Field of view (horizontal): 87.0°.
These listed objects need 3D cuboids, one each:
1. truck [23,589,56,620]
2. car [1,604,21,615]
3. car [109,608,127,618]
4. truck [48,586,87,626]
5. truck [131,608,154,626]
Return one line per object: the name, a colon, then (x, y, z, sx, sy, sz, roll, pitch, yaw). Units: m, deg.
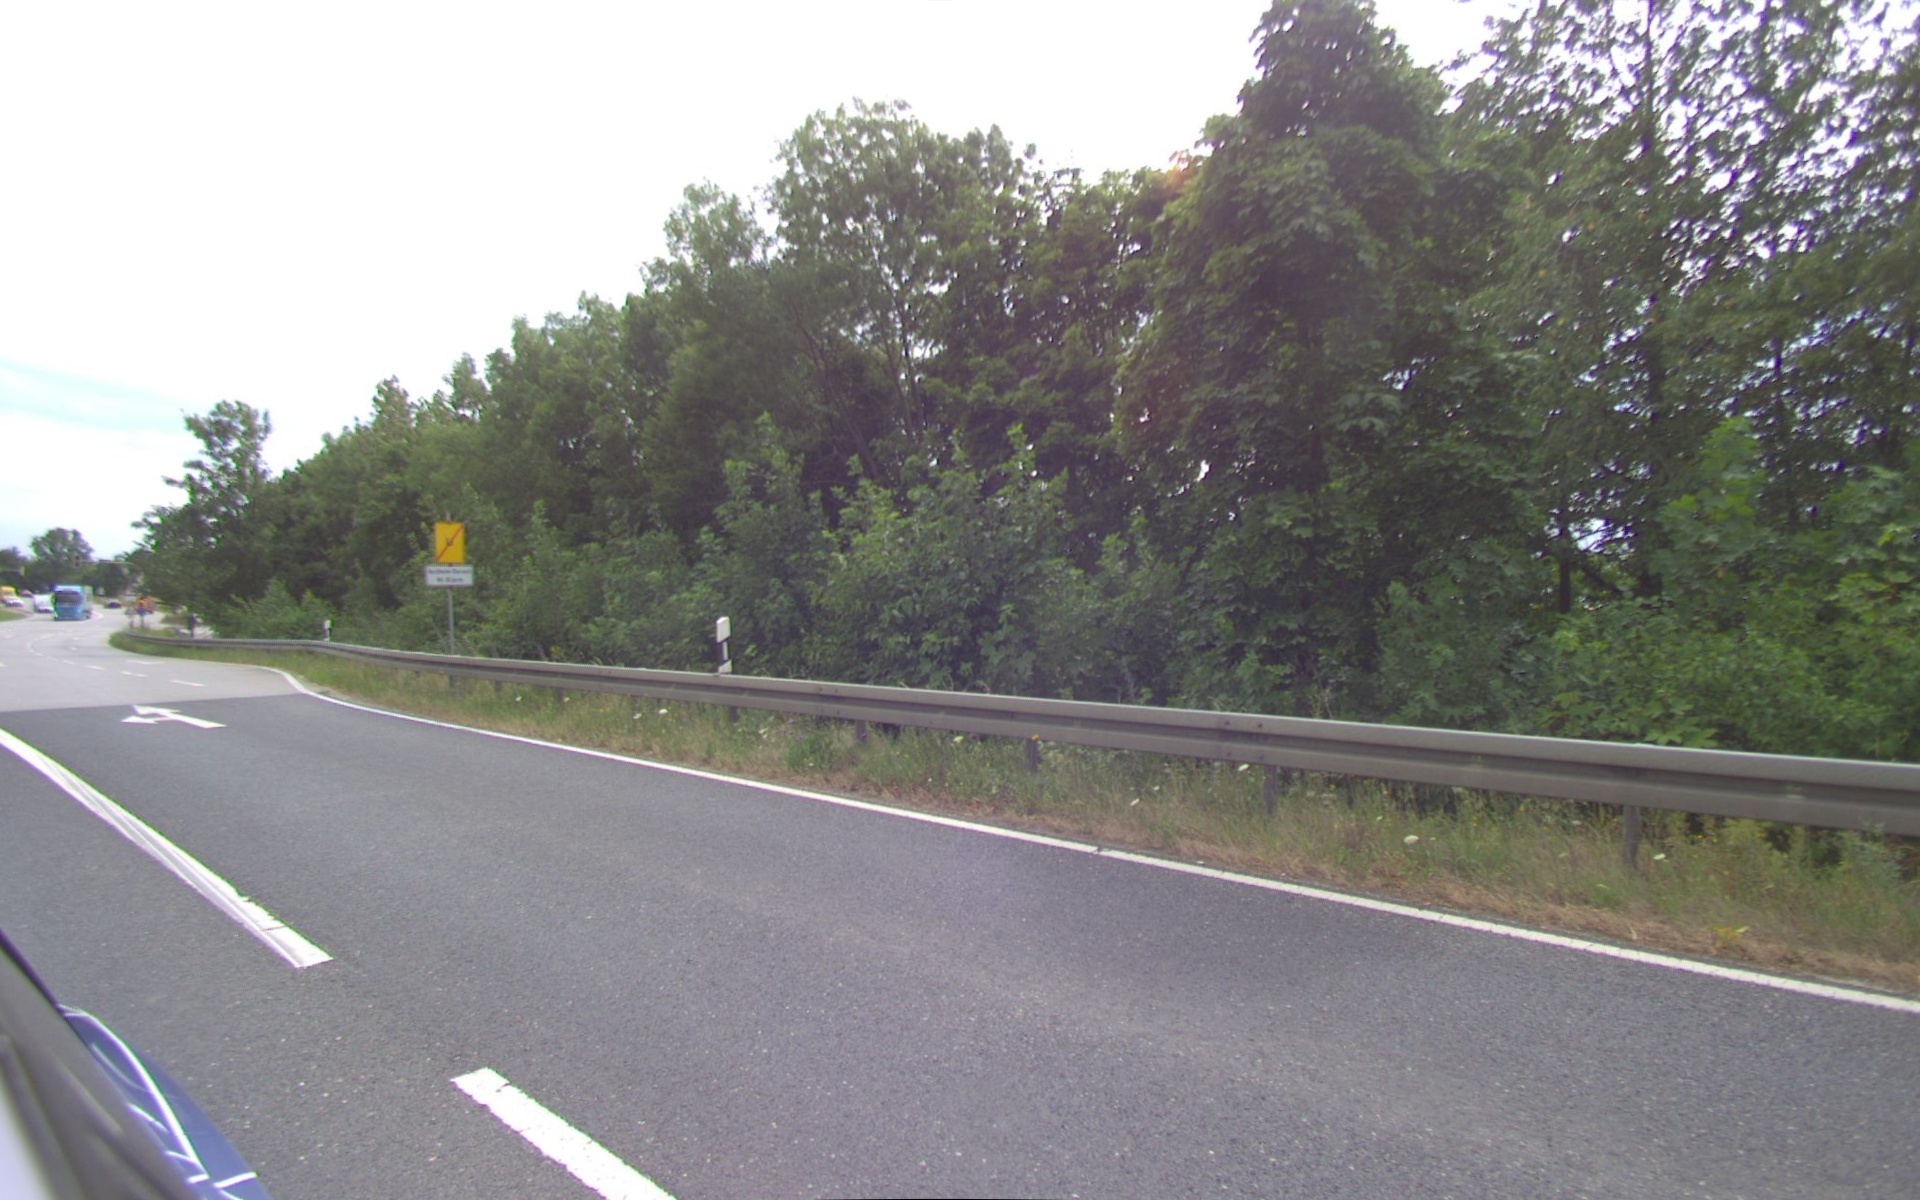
truck: (-135.407, 0.684, 148.946, 2.981, 4.383, 9.586, 4, -3, -40)
car: (-160.560, 1.647, 171.239, 3.998, 1.730, 1.972, 0, -3, 41)
car: (-143.814, 2.145, 172.802, 4.002, 1.582, 1.894, 0, -3, 45)
truck: (-104.701, 0.705, 118.825, 2.981, 4.383, 9.586, 4, -3, -40)
truck: (-120.700, 2.558, 149.338, 2.287, 2.621, 6.031, 3, -4, -41)
